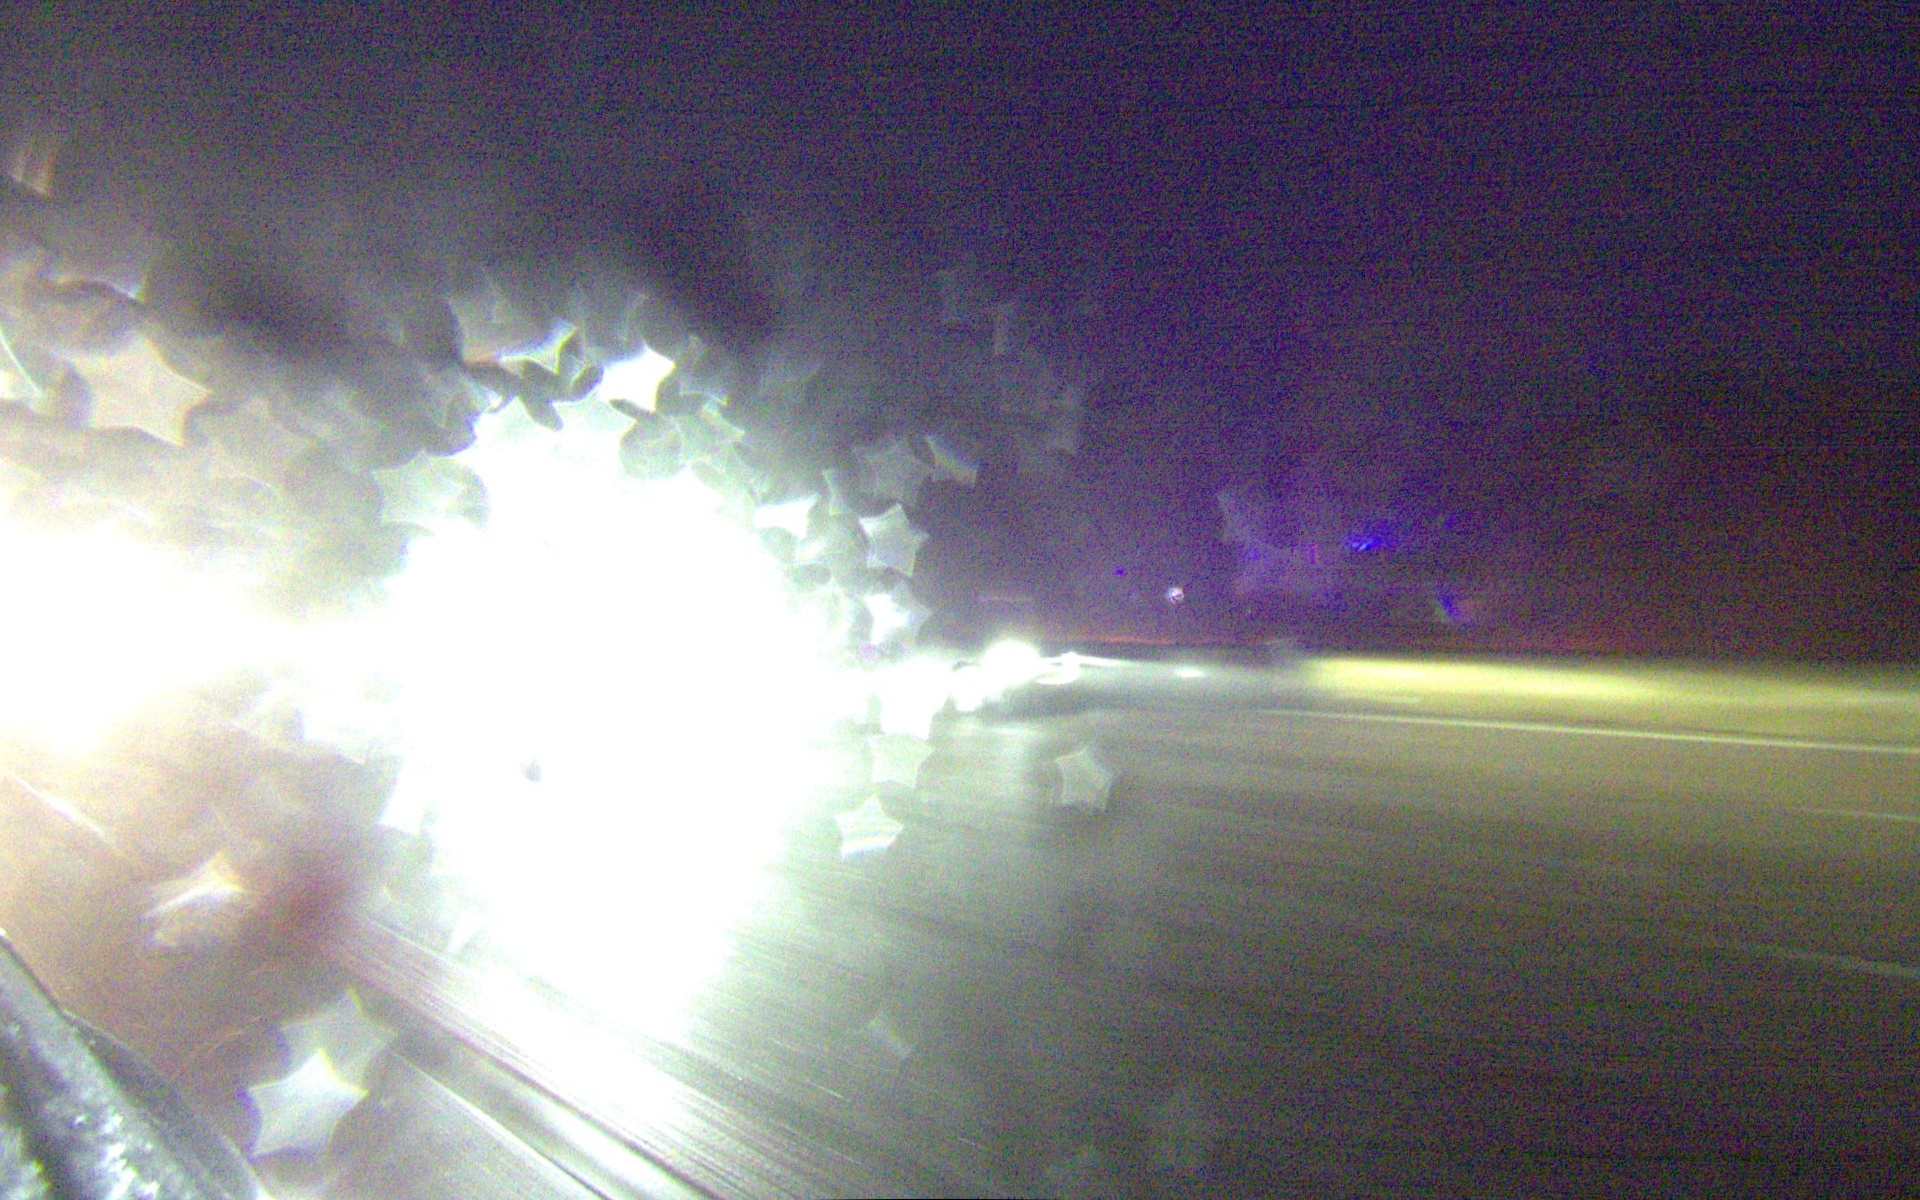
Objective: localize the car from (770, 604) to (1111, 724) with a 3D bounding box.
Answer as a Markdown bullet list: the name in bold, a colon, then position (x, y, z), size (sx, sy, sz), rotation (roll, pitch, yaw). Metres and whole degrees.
- **car**: position (-0.451, 0.828, 15.202), size (5.163, 1.487, 1.973), rotation (-1, 0, 42)

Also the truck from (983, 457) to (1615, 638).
- **truck**: position (8.323, -1.078, 28.959), size (17.174, 3.917, 3.463), rotation (-1, 0, 42)

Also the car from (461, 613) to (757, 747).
- **car**: position (-4.693, 0.915, 13.293), size (3.998, 1.452, 1.973), rotation (-1, 0, 41)

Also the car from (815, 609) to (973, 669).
- **car**: position (-1.933, 1.056, 28.877), size (4.457, 1.569, 1.861), rotation (-1, 0, 40)

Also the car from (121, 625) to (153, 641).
- **car**: position (-87.548, 3.479, 107.622), size (4.456, 1.569, 1.861), rotation (-1, 0, 40)

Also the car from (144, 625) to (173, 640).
- **car**: position (-92.660, 3.753, 116.952), size (4.457, 1.569, 1.860), rotation (-1, 0, 41)

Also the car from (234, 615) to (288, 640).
- **car**: position (-46.120, 1.797, 66.718), size (4.457, 1.569, 1.861), rotation (-1, 0, 40)

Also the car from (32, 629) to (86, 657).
- **car**: position (-55.877, 2.629, 62.744), size (4.586, 1.572, 1.972), rotation (-1, 0, 42)
